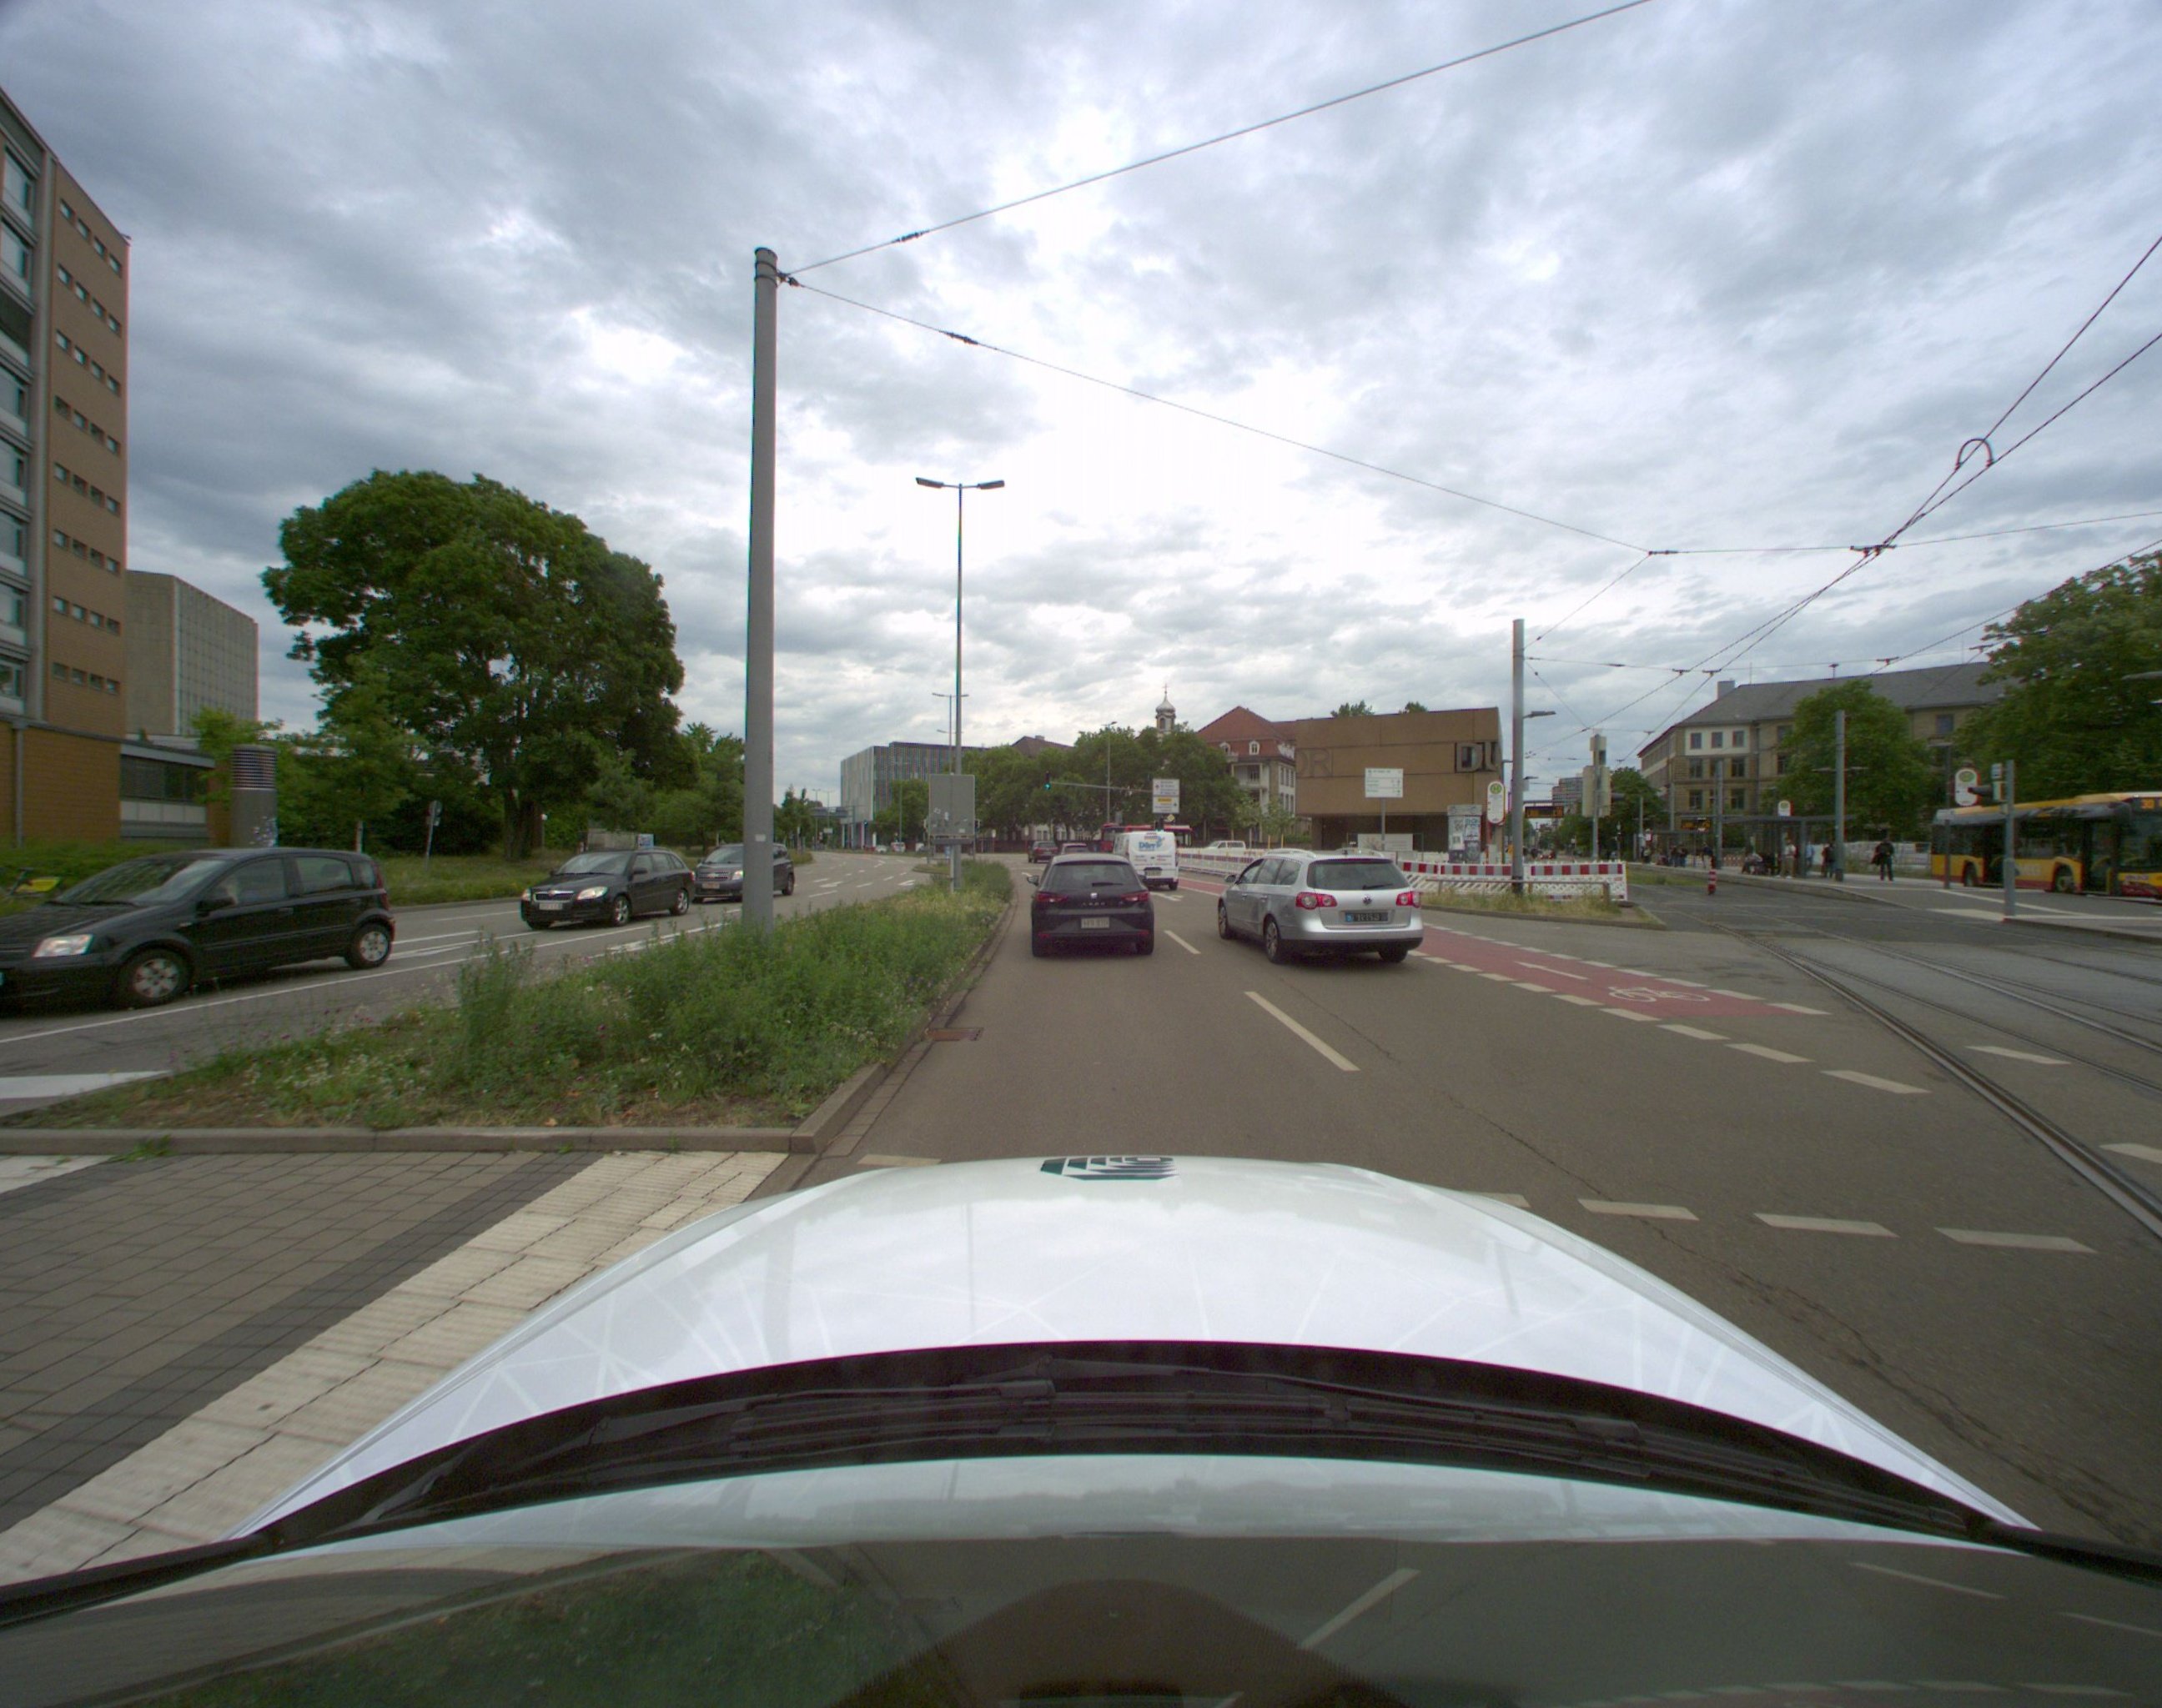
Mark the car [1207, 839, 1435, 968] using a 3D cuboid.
[{"bbox_3d":[3.205,0.547,11.928,1.717,1.482,4.622,-1,1,-4],"label":"car"}]

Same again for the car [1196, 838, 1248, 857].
[{"bbox_3d":[14.505,-0.670,83.503,5.015,1.865,1.982,0,-3,-27],"label":"car"}]

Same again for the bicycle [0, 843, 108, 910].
[{"bbox_3d":[-23.663,0.490,18.227,0.839,1.449,2.267,0,1,23],"label":"bicycle"}]

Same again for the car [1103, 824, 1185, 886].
[{"bbox_3d":[2.104,0.006,28.882,1.991,2.019,5.021,0,1,-7],"label":"car"}]

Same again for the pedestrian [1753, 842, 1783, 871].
[{"bbox_3d":[33.247,0.107,39.411,1.008,1.402,1.014,0,1,34],"label":"pedestrian"}]

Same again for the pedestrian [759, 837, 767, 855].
[{"bbox_3d":[-36.390,-0.882,93.160,0.756,2.013,1.042,0,0,-14],"label":"pedestrian"}]

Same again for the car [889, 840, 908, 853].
[{"bbox_3d":[-28.812,-1.143,128.518,2.004,2.013,3.967,-1,1,-25],"label":"car"}]

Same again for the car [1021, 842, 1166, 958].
[{"bbox_3d":[0.036,0.591,12.801,1.744,1.464,3.991,-2,1,-7],"label":"car"}]

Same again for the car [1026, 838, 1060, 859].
[{"bbox_3d":[-2.956,-0.446,62.373,1.995,1.566,4.188,0,1,-12],"label":"car"}]

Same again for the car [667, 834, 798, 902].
[{"bbox_3d":[-9.741,0.329,23.239,1.866,1.725,4.707,-1,1,-3],"label":"car"}]

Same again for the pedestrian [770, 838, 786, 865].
[{"bbox_3d":[-20.568,-0.164,55.272,0.891,1.842,0.666,0,0,-5],"label":"pedestrian"}]

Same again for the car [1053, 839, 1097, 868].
[{"bbox_3d":[-0.402,-0.062,47.223,1.858,1.600,4.190,0,1,-11],"label":"car"}]

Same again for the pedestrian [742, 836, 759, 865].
[{"bbox_3d":[-21.018,-0.209,51.799,0.756,1.842,0.765,-1,0,-5],"label":"pedestrian"}]

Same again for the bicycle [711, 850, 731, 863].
[{"bbox_3d":[-24.806,0.155,56.139,0.714,0.882,1.879,0,0,-7],"label":"bicycle"}]

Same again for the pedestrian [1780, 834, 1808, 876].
[{"bbox_3d":[31.628,0.030,36.140,0.816,1.808,1.027,0,0,33],"label":"pedestrian"}]

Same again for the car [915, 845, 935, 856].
[{"bbox_3d":[-23.373,-0.534,121.933,1.928,1.684,3.964,0,1,-28],"label":"car"}]

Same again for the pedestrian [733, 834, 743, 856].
[{"bbox_3d":[-32.853,-0.864,78.042,0.756,2.013,1.042,0,0,-14],"label":"pedestrian"}]

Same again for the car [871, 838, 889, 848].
[{"bbox_3d":[-34.344,-1.845,139.150,2.005,1.640,3.964,-1,1,-28],"label":"car"}]

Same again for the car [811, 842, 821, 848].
[{"bbox_3d":[-61.855,-2.056,190.004,1.720,1.265,3.312,0,1,-26],"label":"car"}]

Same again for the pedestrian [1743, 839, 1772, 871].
[{"bbox_3d":[34.251,0.030,41.244,1.008,1.575,1.014,0,0,32],"label":"pedestrian"}]

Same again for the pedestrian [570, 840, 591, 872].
[{"bbox_3d":[-23.953,0.097,38.971,0.560,1.541,0.754,0,0,-6],"label":"pedestrian"}]

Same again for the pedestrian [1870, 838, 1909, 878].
[{"bbox_3d":[33.946,0.142,34.212,0.994,1.645,1.027,0,0,33],"label":"pedestrian"}]

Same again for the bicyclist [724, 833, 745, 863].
[{"bbox_3d":[-21.007,-0.371,49.375,0.783,1.844,0.838,0,0,25],"label":"bicyclist"}]

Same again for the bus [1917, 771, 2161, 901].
[{"bbox_3d":[31.172,-0.492,25.880,2.987,3.267,13.124,0,1,30],"label":"bus"}]

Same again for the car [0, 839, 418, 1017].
[{"bbox_3d":[-9.466,0.616,8.771,1.613,1.515,3.665,-1,1,0],"label":"car"}]

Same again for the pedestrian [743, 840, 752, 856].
[{"bbox_3d":[-36.674,-0.707,89.623,0.756,1.765,0.902,0,0,-14],"label":"pedestrian"}]

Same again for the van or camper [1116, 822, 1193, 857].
[{"bbox_3d":[7.231,-1.401,79.859,7.167,3.332,2.851,0,-1,-27],"label":"van or camper"}]

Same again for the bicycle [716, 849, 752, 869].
[{"bbox_3d":[-21.018,0.295,49.361,0.782,1.159,1.918,0,1,25],"label":"bicycle"}]

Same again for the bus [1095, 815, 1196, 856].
[{"bbox_3d":[5.891,-1.502,70.726,3.029,3.297,12.458,1,0,34],"label":"bus"}]

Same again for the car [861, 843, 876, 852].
[{"bbox_3d":[-39.611,-1.171,151.571,2.004,1.681,3.976,0,1,-26],"label":"car"}]

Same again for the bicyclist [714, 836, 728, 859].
[{"bbox_3d":[-24.804,-0.456,56.153,0.714,1.570,0.710,0,0,-7],"label":"bicyclist"}]

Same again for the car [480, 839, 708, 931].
[{"bbox_3d":[-9.451,0.507,16.335,1.865,1.508,4.477,-2,1,-1],"label":"car"}]

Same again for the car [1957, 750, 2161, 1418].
[{"bbox_3d":[3.613,0.593,0.244,1.897,1.658,4.515,0,1,0],"label":"car"}]

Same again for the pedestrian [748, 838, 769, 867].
[{"bbox_3d":[-21.073,-0.096,53.238,1.047,1.842,0.864,0,0,-5],"label":"pedestrian"}]
